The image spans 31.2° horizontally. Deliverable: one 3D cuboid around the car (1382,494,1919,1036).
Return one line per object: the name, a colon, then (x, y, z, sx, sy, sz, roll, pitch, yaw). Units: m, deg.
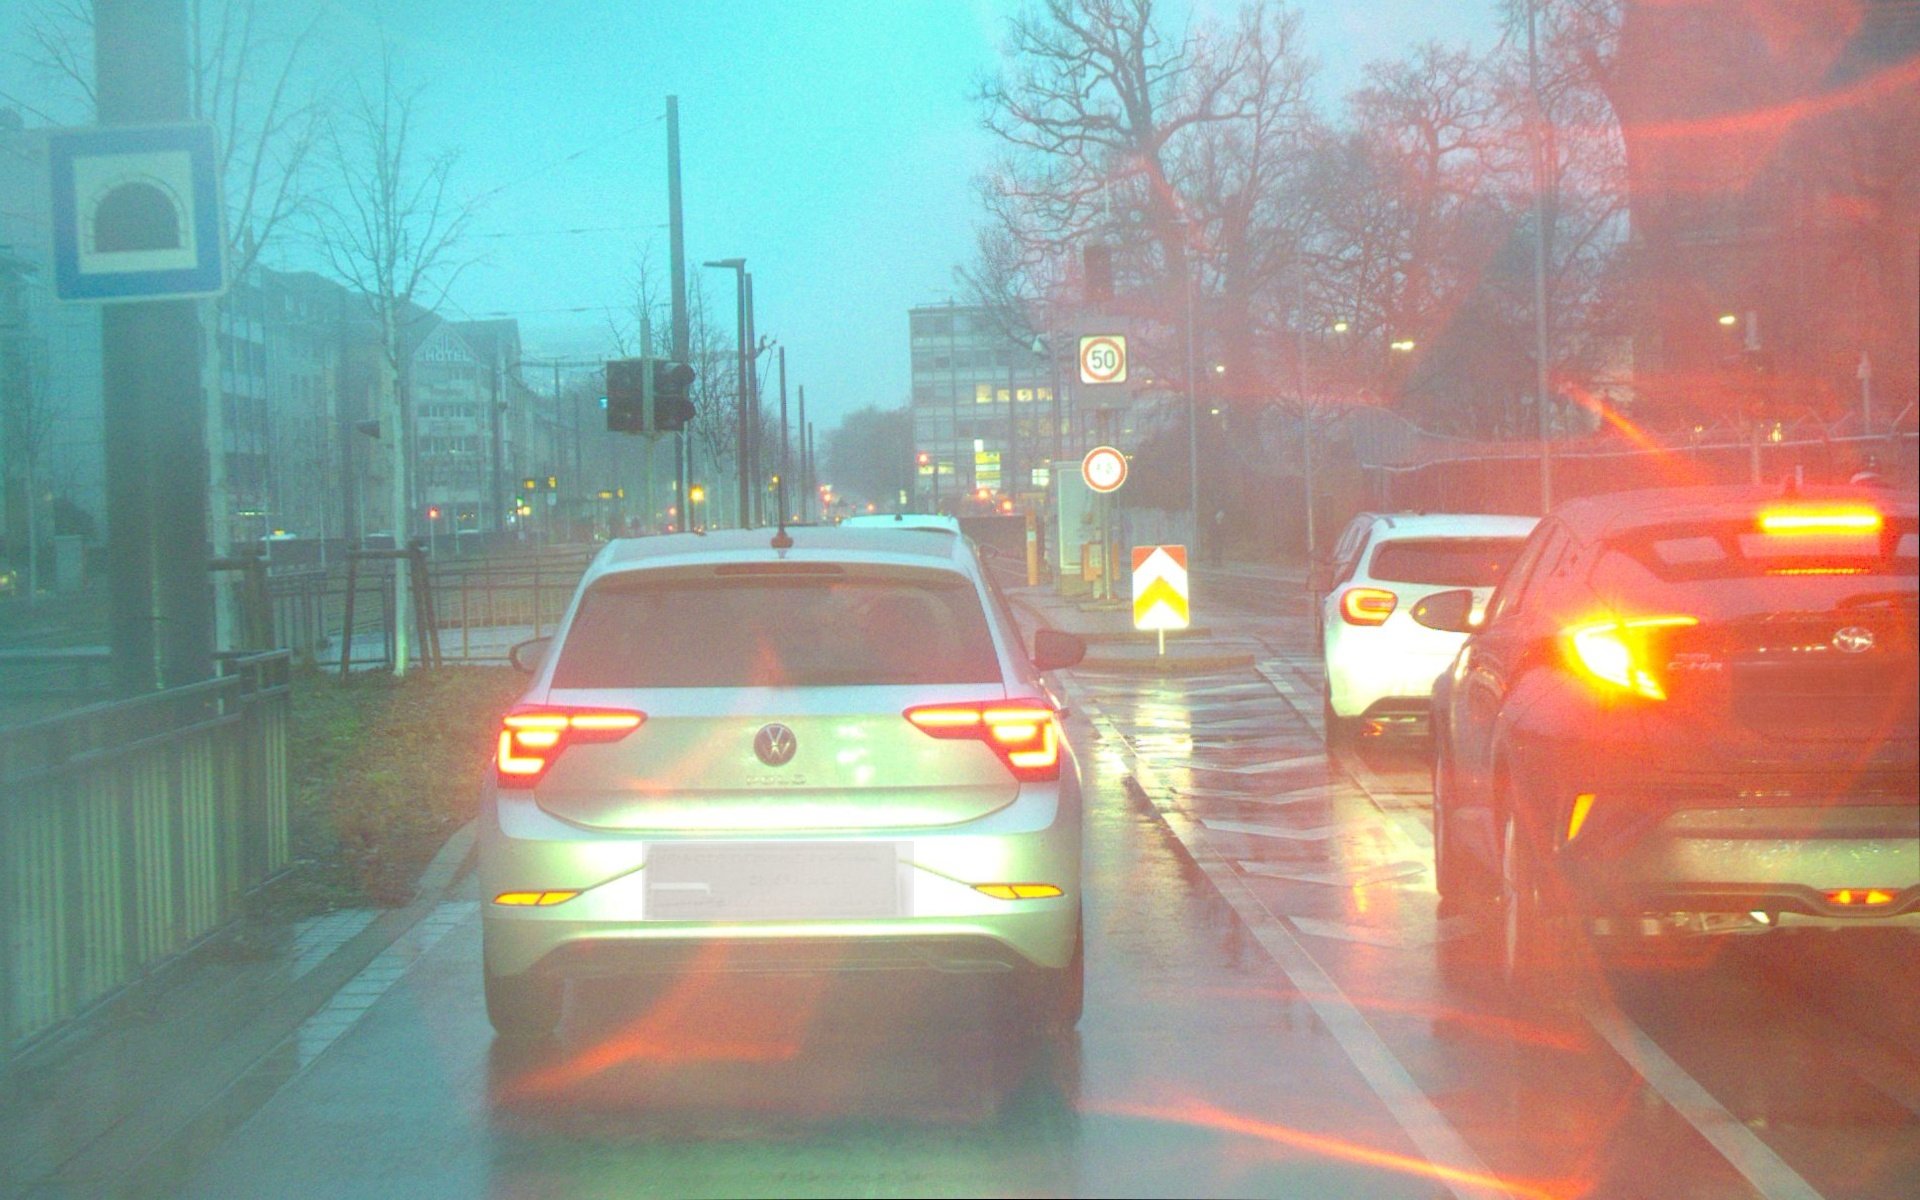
car: (2.408, 0.426, 11.388, 1.722, 1.474, 4.000, 0, 1, 3)

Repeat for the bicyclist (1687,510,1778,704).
bicyclist: (6.476, 0.047, 28.853, 0.500, 1.586, 0.837, -2, 1, -3)

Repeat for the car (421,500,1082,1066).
car: (-0.546, 0.455, 10.988, 1.722, 1.474, 4.000, 0, 1, 0)

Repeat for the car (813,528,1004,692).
car: (-0.465, 0.068, 33.067, 1.722, 1.474, 4.000, 0, 1, 0)

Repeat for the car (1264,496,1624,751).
car: (2.984, 0.110, 21.947, 1.722, 1.474, 4.000, 0, 1, 0)

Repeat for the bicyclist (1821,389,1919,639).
bicyclist: (6.612, -0.621, 24.812, 0.500, 1.761, 0.837, -2, 1, -3)
